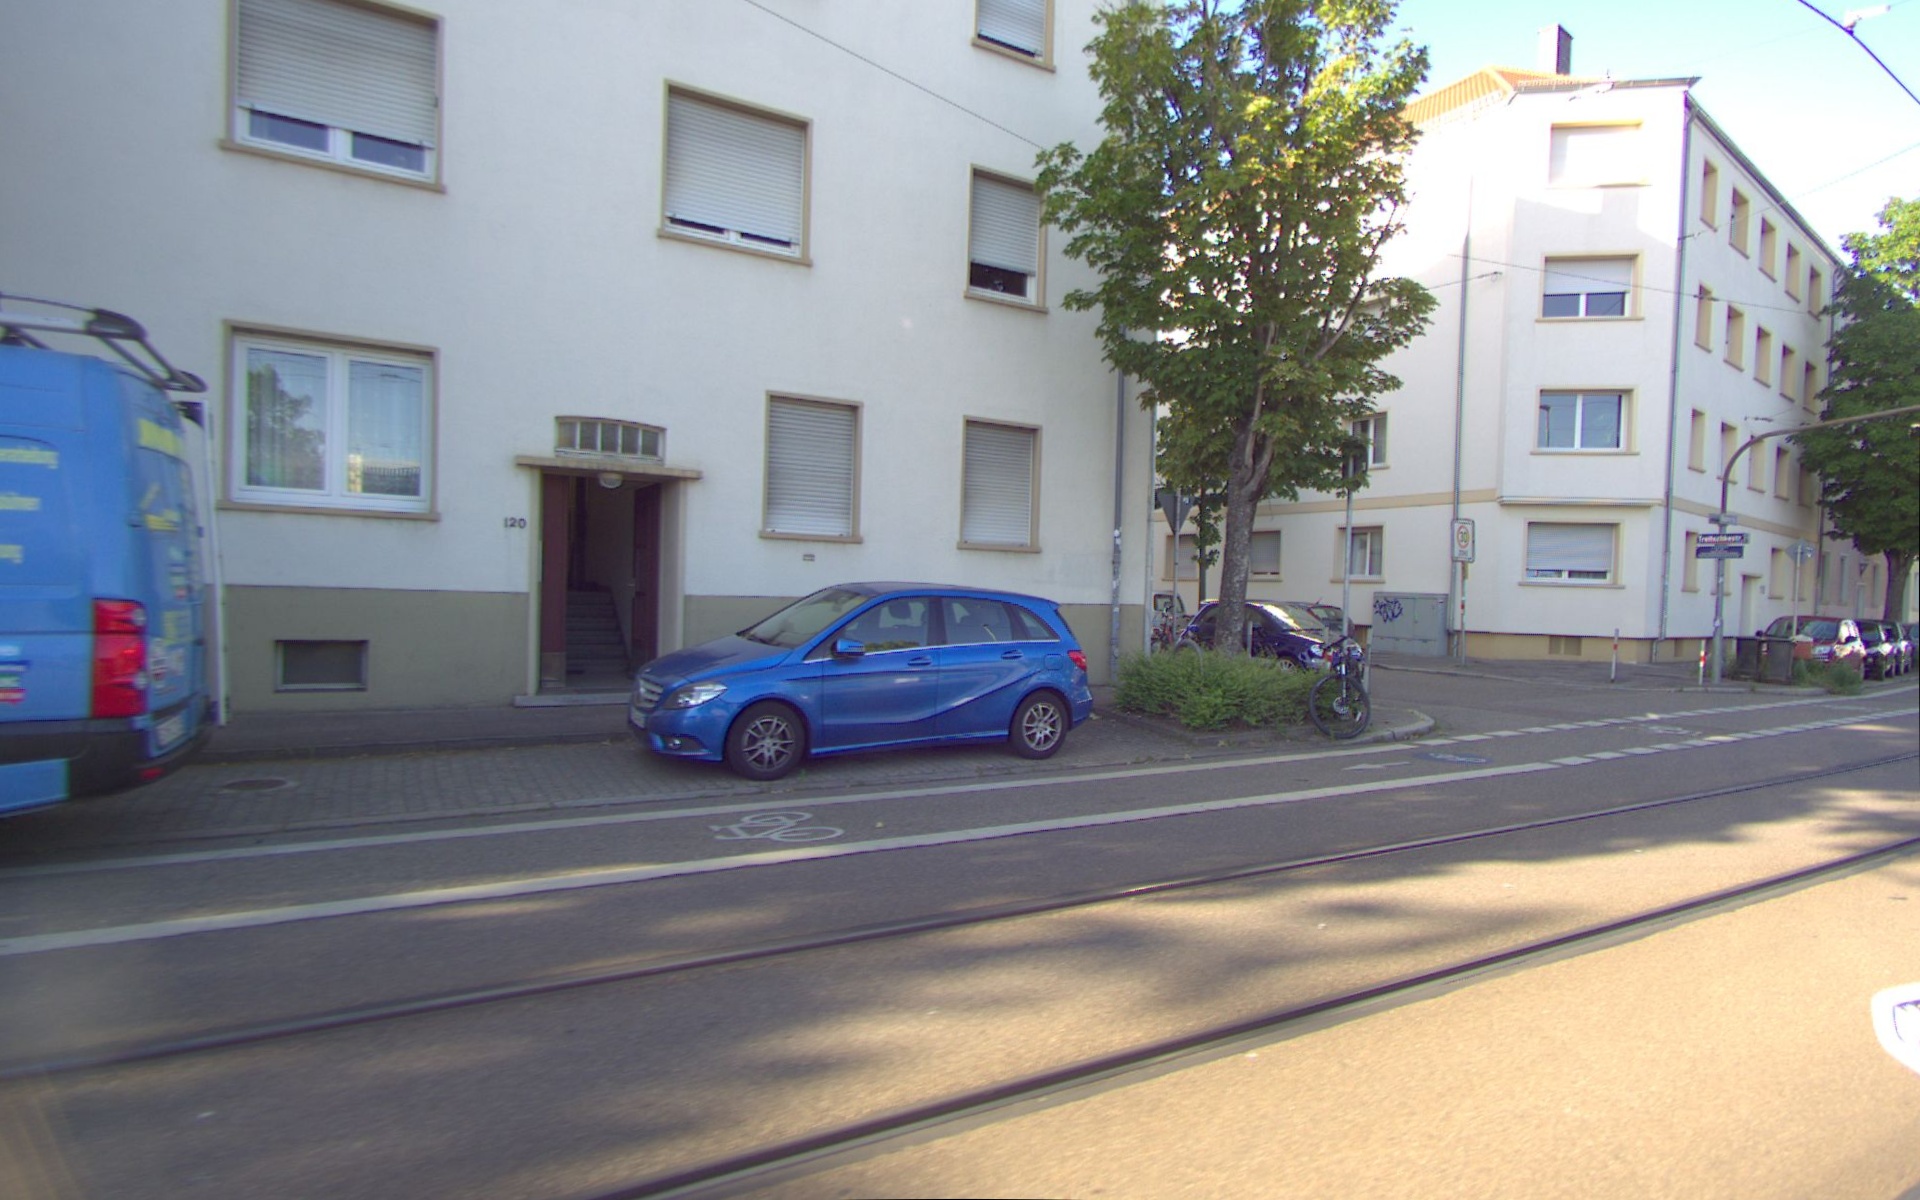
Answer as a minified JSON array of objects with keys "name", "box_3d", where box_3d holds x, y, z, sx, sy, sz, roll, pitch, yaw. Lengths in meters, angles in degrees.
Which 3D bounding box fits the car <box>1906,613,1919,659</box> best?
[{"name":"car","box_3d":[37.182,1.387,38.068,4.266,1.690,1.635,1,2,-44]}]

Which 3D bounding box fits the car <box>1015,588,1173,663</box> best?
[{"name":"car","box_3d":[2.895,0.516,22.317,1.561,1.477,3.487,2,1,-32]}]

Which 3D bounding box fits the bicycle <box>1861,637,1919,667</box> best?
[{"name":"bicycle","box_3d":[30.177,1.678,31.988,0.473,0.836,2.110,1,2,-39]}]

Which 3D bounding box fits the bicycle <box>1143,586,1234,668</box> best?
[{"name":"bicycle","box_3d":[3.821,0.437,16.879,0.394,1.245,1.490,5,0,-37]}]

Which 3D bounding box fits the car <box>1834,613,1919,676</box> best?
[{"name":"car","box_3d":[26.970,1.259,29.513,3.706,1.635,1.575,1,2,-44]}]

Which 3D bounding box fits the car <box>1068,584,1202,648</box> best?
[{"name":"car","box_3d":[5.312,0.449,30.970,1.885,1.675,3.966,2,2,-31]}]

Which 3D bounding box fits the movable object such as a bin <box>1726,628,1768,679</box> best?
[{"name":"movable object such as a bin","box_3d":[16.340,1.103,20.851,0.653,1.001,0.481,1,2,-37]}]

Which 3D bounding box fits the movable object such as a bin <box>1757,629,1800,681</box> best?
[{"name":"movable object such as a bin","box_3d":[16.642,1.113,20.432,0.653,1.001,0.481,1,2,-37]}]

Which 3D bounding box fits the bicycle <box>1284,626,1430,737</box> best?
[{"name":"bicycle","box_3d":[4.563,0.897,11.475,2.012,1.149,0.508,1,2,-37]}]

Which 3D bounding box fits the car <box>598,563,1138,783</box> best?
[{"name":"car","box_3d":[-0.754,0.568,9.225,4.587,1.582,1.782,2,2,-30]}]

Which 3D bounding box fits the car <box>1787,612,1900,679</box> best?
[{"name":"car","box_3d":[23.593,1.161,26.775,3.829,1.550,1.770,1,2,-42]}]

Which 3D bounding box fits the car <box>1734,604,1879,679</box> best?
[{"name":"car","box_3d":[20.208,0.955,23.940,3.961,1.550,1.677,2,2,-36]}]

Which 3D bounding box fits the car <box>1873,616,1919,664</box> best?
[{"name":"car","box_3d":[32.811,1.365,34.265,4.619,1.495,1.675,1,2,-38]}]

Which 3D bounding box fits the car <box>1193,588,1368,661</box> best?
[{"name":"car","box_3d":[8.059,0.580,25.608,1.885,1.550,3.966,2,2,-31]}]

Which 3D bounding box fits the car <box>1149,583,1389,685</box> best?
[{"name":"car","box_3d":[5.413,0.536,18.043,1.749,1.477,3.863,2,2,-32]}]

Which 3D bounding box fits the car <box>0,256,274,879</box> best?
[{"name":"car","box_3d":[-6.806,-0.245,4.451,5.957,2.864,2.008,2,2,-29]}]
